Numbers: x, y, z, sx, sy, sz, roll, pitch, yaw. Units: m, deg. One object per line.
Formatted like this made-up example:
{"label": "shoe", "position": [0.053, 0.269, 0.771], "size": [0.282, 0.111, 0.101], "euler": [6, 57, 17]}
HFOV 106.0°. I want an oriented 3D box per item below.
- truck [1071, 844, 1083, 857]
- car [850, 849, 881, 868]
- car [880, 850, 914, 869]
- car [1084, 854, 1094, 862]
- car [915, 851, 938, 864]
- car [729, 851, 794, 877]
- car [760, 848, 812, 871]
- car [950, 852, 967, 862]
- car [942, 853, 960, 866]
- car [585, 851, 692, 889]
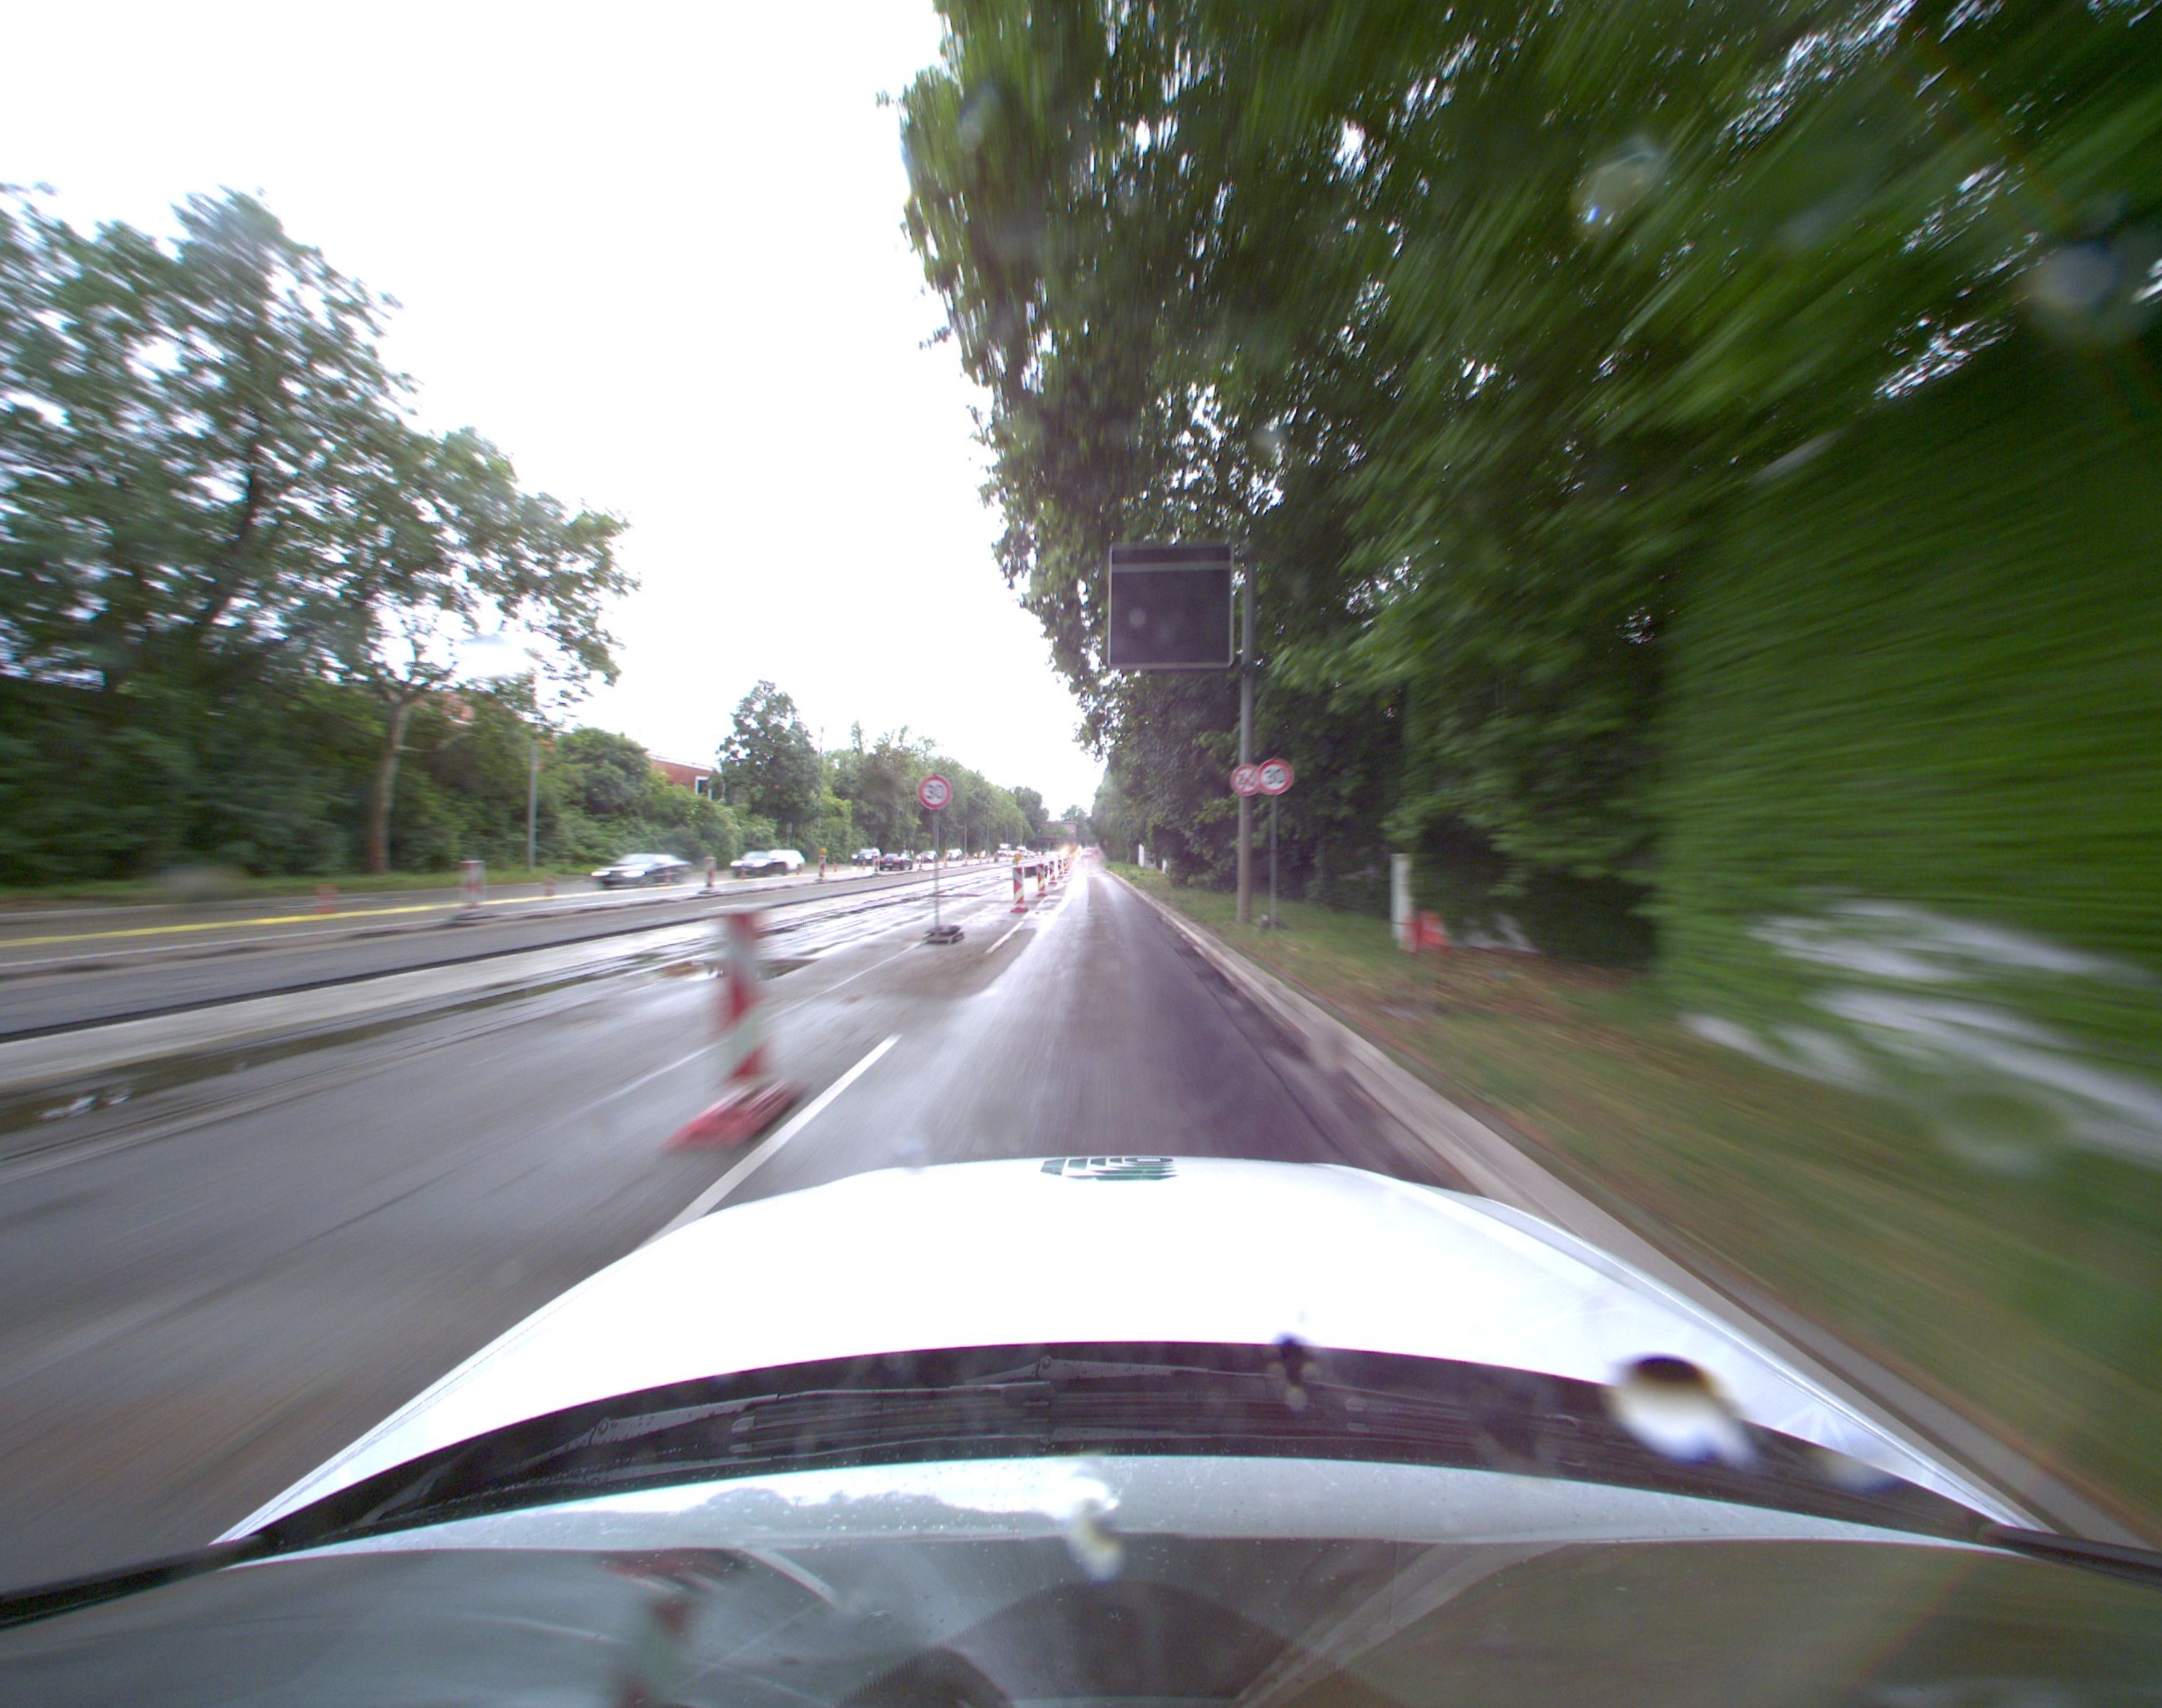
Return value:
{"label": "truck", "position": [-0.996, -1.068, 234.326], "size": [3.248, 3.497, 13.869], "euler": [1, 0, 0]}
{"label": "car", "position": [-20.203, 0.424, 76.466], "size": [1.647, 1.685, 4.533], "euler": [1, 0, 0]}
{"label": "car", "position": [-14.173, 0.409, 62.918], "size": [1.602, 1.404, 4.041], "euler": [1, 0, 0]}
{"label": "car", "position": [1.363, 0.623, 138.066], "size": [1.692, 1.336, 3.491], "euler": [-1, 0, 0]}
{"label": "car", "position": [-17.927, 0.435, 94.802], "size": [1.755, 1.483, 4.899], "euler": [0, 0, -1]}
{"label": "car", "position": [-17.429, 0.508, 44.639], "size": [1.812, 1.355, 4.204], "euler": [-1, 0, 0]}
{"label": "car", "position": [-19.927, 0.336, 55.265], "size": [1.812, 1.419, 4.602], "euler": [1, 0, 0]}
{"label": "car", "position": [-17.980, 0.409, 119.728], "size": [1.755, 1.483, 4.899], "euler": [0, 0, -1]}
{"label": "car", "position": [-17.815, 0.775, 112.023], "size": [1.729, 1.722, 4.493], "euler": [1, 0, 0]}
{"label": "car", "position": [-17.593, 0.596, 32.651], "size": [1.812, 1.355, 4.390], "euler": [-1, 0, 0]}
